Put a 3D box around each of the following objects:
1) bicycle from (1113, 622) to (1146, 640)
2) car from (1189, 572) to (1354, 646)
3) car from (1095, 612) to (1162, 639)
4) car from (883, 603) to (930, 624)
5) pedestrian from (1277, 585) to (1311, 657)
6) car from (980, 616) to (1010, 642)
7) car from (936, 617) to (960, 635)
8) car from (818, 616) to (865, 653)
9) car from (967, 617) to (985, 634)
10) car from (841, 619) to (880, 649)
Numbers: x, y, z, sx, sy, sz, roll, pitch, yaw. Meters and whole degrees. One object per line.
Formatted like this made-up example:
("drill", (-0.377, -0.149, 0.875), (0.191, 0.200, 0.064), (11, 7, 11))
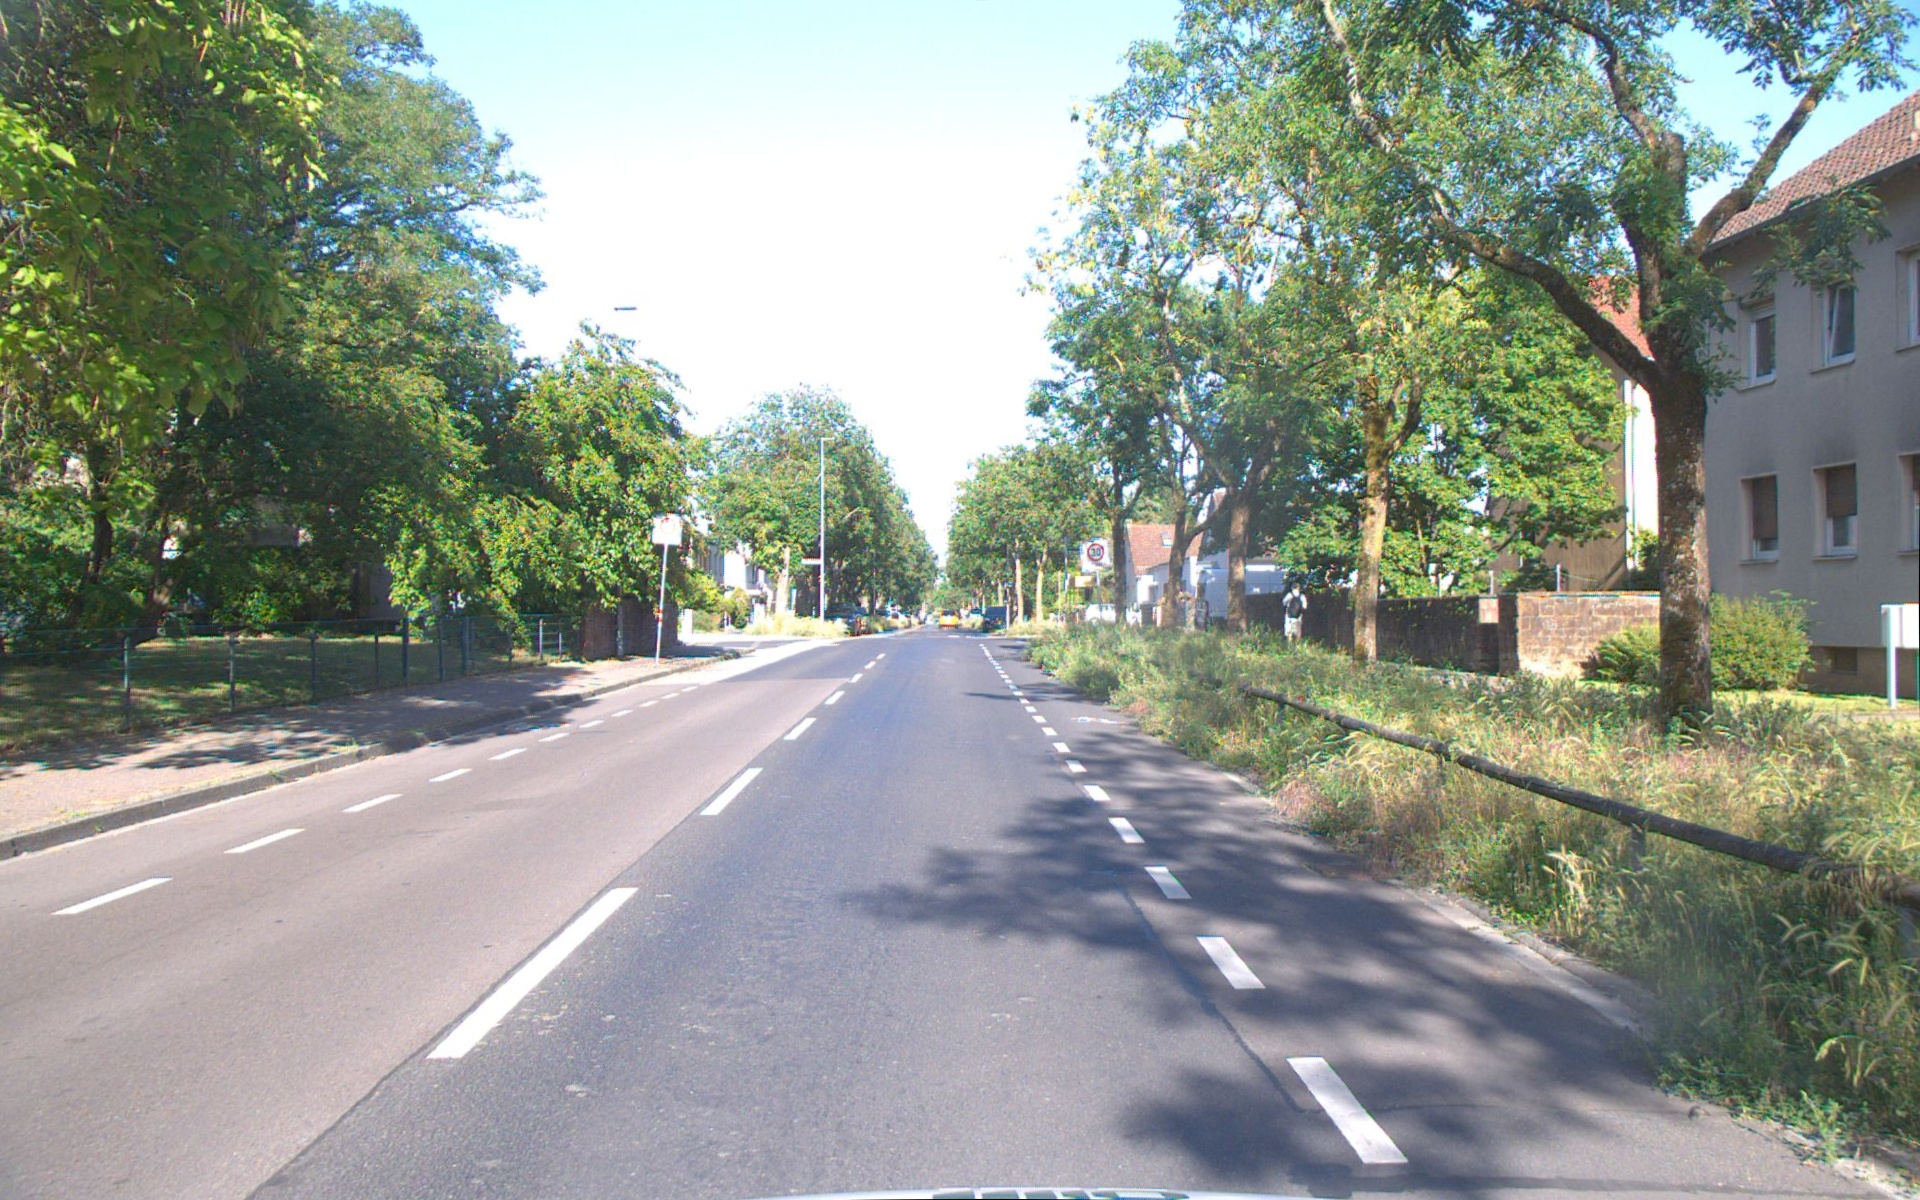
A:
("bicycle", (10.158, 1.874, 99.260), (1.918, 1.016, 0.576), (-1, 0, -2))
("car", (11.168, 0.320, 59.539), (5.483, 2.584, 2.264), (0, -1, -4))
("car", (10.418, 1.581, 102.404), (3.907, 1.515, 1.901), (-2, 0, -2))
("car", (-6.219, 1.571, 192.546), (5.388, 2.287, 2.516), (2, 0, -2))
("pedestrian", (8.179, 0.502, 40.521), (0.624, 1.735, 0.612), (-2, 0, -2))
("car", (2.294, 1.964, 110.489), (1.815, 1.654, 4.468), (-1, -2, -1))
("car", (-1.033, 2.269, 143.371), (1.850, 1.505, 3.885), (2, -1, -3))
("car", (-5.936, 1.762, 83.067), (1.913, 1.757, 4.874), (2, -2, 0))
("car", (1.740, 2.842, 183.571), (1.864, 1.805, 4.300), (2, -2, 0))
("car", (-5.715, 1.976, 95.037), (1.899, 1.637, 4.383), (2, -2, 0))
